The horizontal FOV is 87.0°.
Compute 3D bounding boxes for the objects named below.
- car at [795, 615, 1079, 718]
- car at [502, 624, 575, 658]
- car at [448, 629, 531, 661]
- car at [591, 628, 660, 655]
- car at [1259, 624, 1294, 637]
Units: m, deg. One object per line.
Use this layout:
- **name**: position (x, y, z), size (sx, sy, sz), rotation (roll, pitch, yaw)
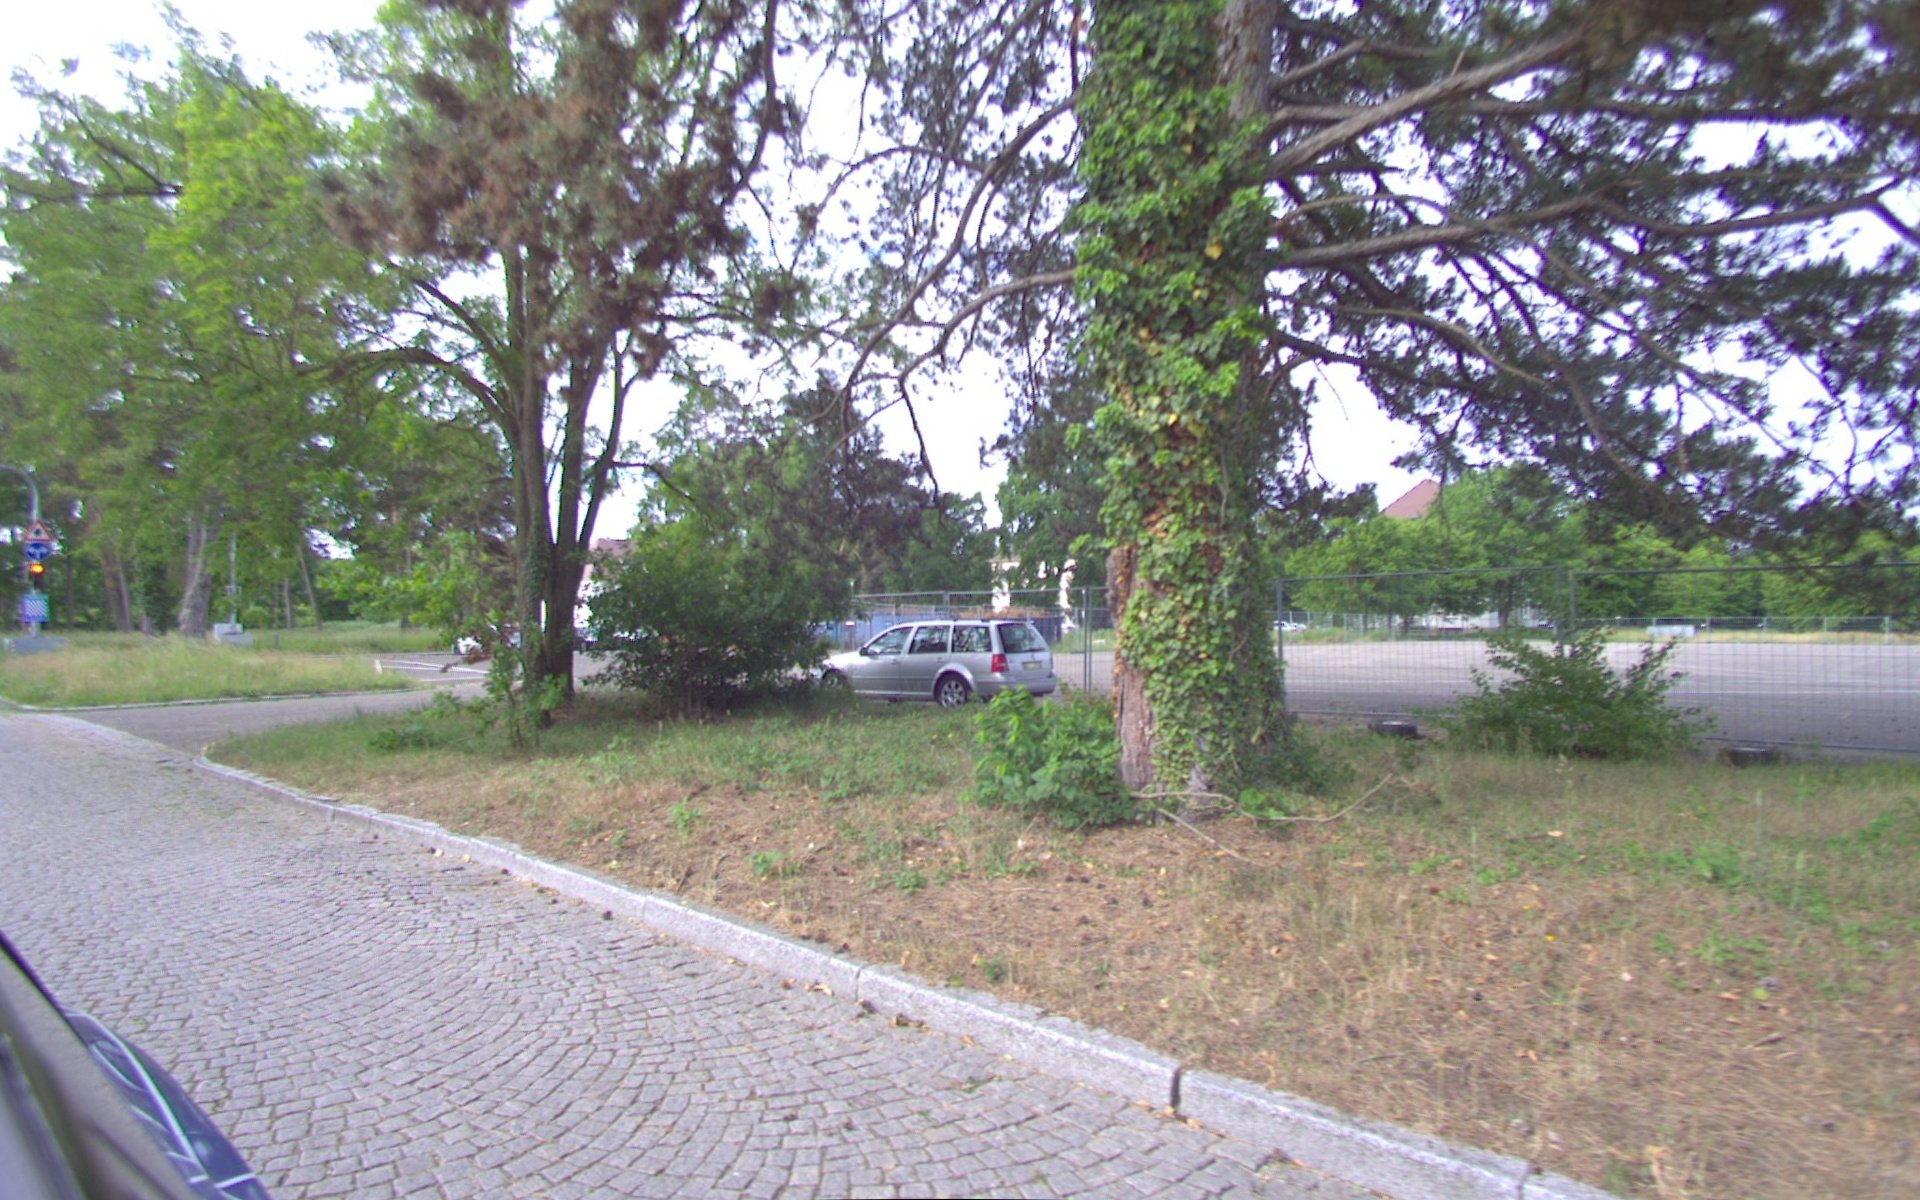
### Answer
- **car**: position (-0.459, 1.034, 16.227), size (4.415, 1.427, 1.807), rotation (-2, -4, 38)
- **car**: position (-20.938, 2.051, 50.246), size (3.893, 1.532, 1.654), rotation (-4, -3, 38)
- **car**: position (-22.479, 2.116, 48.305), size (4.314, 1.436, 1.807), rotation (-2, -2, 38)
- **car**: position (-18.191, 2.248, 54.963), size (4.031, 1.410, 1.617), rotation (-2, -2, 38)
- **car**: position (43.593, 4.212, 139.481), size (4.288, 1.735, 1.805), rotation (-2, 0, 41)
